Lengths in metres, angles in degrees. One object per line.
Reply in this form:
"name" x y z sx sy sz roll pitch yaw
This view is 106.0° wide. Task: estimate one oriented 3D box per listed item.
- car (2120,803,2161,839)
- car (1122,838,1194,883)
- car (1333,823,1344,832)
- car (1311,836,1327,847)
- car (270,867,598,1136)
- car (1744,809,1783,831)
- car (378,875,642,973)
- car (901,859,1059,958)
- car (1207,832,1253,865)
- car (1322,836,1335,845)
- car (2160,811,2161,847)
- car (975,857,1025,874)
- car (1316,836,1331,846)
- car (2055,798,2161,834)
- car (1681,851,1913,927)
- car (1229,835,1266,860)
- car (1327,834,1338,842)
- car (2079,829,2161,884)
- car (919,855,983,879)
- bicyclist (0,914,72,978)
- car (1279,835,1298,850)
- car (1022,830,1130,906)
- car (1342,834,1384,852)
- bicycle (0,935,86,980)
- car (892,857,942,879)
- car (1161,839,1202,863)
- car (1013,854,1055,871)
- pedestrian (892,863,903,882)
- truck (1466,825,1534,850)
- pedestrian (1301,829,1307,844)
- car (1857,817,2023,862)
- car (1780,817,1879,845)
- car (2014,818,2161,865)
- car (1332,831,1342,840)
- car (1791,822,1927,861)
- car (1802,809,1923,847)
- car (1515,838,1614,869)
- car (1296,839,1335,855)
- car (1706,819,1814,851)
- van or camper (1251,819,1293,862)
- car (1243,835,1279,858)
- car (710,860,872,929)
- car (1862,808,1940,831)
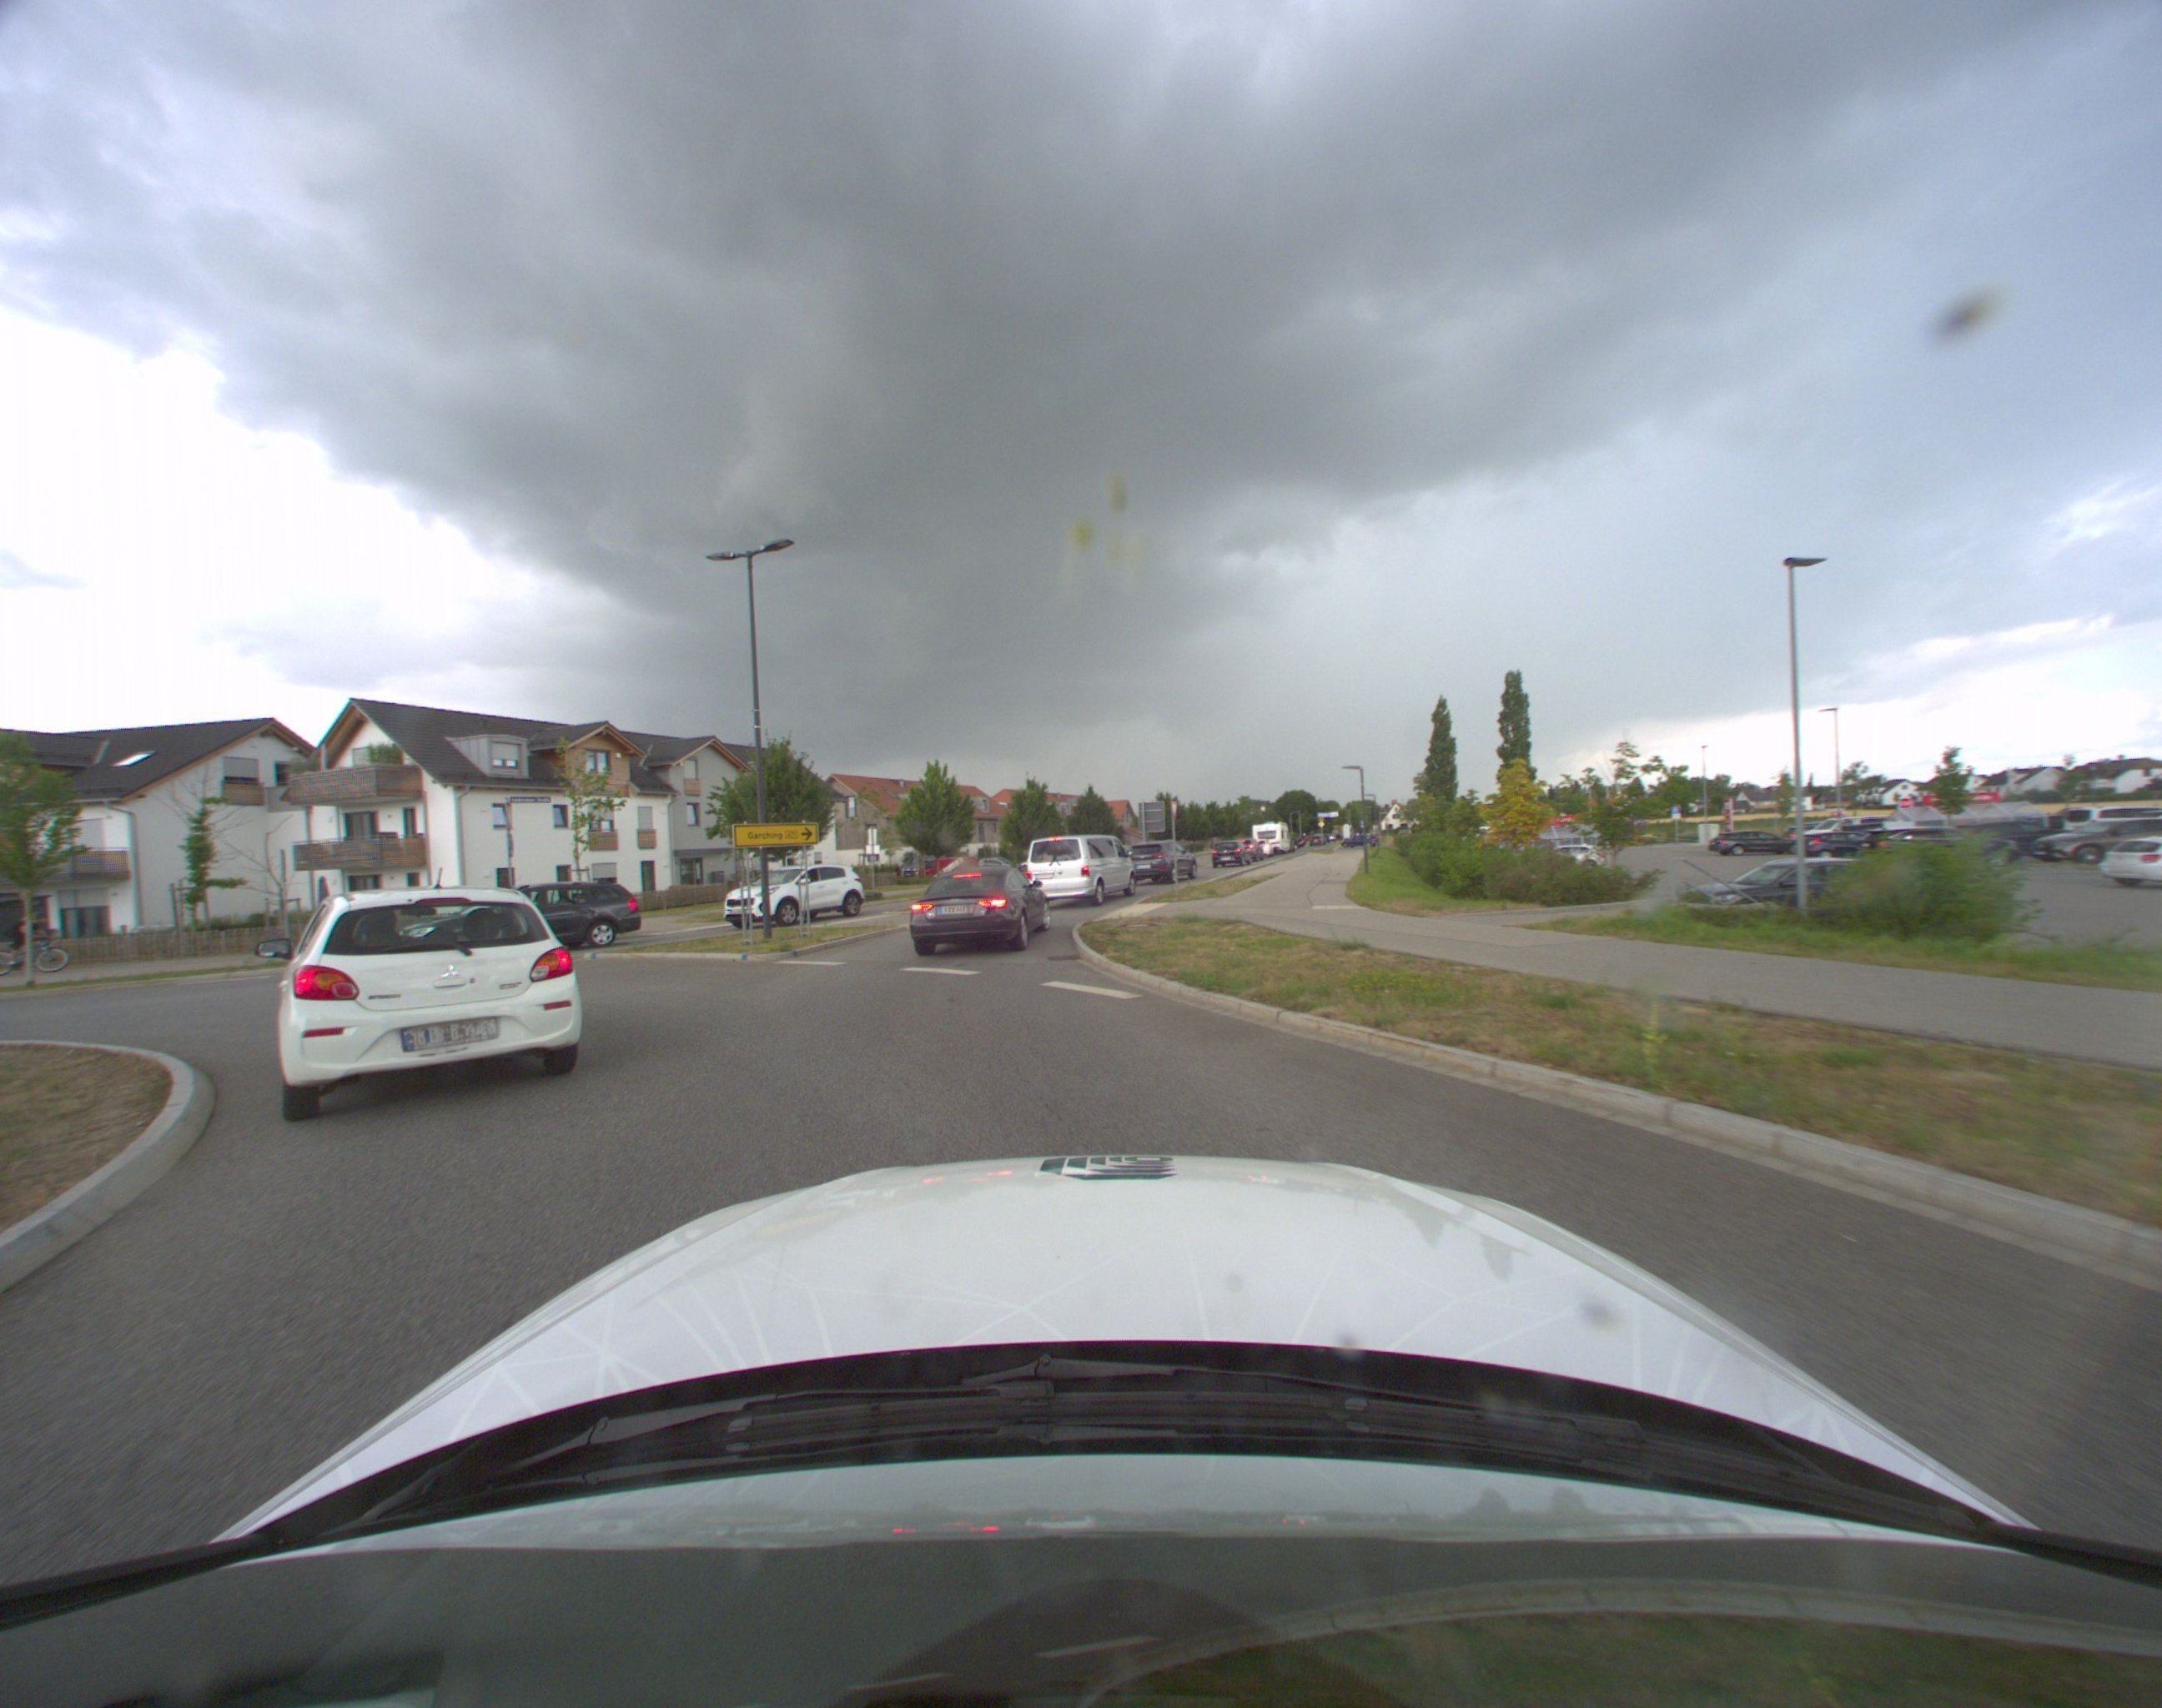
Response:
"car" 57.905 -1.801 42.551 3.951 1.838 2.011 -2 0 24
"car" 3.081 0.215 32.006 1.761 1.618 4.021 -2 0 20
"car" 63.687 -6.543 201.488 1.975 2.211 4.023 -2 1 24
"car" 32.692 -1.672 111.940 1.830 1.436 4.020 -1 1 19
"car" -5.186 0.897 6.590 1.641 1.519 3.359 -2 0 -40
"car" 65.185 -3.188 77.845 1.975 2.013 4.024 1 1 26
"car" -12.284 1.436 17.790 1.751 1.563 4.307 -4 0 37
"car" -1.614 0.853 14.514 1.774 1.391 4.141 -2 0 7
"car" 8.258 -0.320 44.894 1.761 1.618 4.020 -3 0 20
"car" 41.018 -2.204 135.027 1.830 1.436 4.020 -1 1 19
"car" 56.747 -1.299 40.052 3.952 1.838 2.011 -2 0 22
"car" -7.133 1.008 71.537 3.883 1.315 1.851 -2 0 18
"car" 36.236 -1.907 121.735 1.830 1.436 4.020 -1 1 19
"car" 58.062 -2.105 45.659 3.951 1.837 2.011 -2 0 23
"car" 17.539 0.841 20.152 3.961 1.606 1.797 -2 3 11
"car" 10.659 -0.407 51.963 1.762 1.434 3.820 -3 0 19
"car" 47.455 -3.011 153.641 1.830 1.436 4.020 -1 1 19
"car" 31.454 0.022 22.964 3.953 1.485 1.690 -1 0 15
"car" -10.113 0.990 63.487 4.490 1.680 2.011 -2 0 23
"bicyclist" -26.278 2.296 20.433 0.868 1.446 0.721 -4 0 -14
"car" 28.826 -1.662 113.162 1.976 2.013 4.021 -1 1 21
"car" -0.028 0.361 23.362 1.852 1.934 4.019 -2 0 18
"car" 30.695 -1.153 88.642 3.948 1.794 1.629 -2 0 41
"bicycle" -26.287 2.600 20.395 1.711 0.946 0.495 -4 0 -15
"car" -14.679 1.239 73.084 1.975 1.772 4.491 -2 0 25
"car" 6.447 -0.211 51.926 1.762 1.434 3.820 -3 0 19
"car" -4.651 0.836 80.962 3.700 1.482 1.694 -2 1 17
"pedestrian" -15.440 1.533 68.561 0.652 1.558 0.586 -2 0 23
"truck" 35.081 -1.386 68.370 4.760 1.872 2.009 -2 0 15
"pedestrian" 29.310 -2.288 107.163 0.573 2.013 0.685 1 1 26
"car" 35.550 -0.576 33.861 4.413 1.706 1.813 -1 0 19
"car" 47.930 -1.470 52.264 4.275 1.578 1.777 -2 0 22
"car" 41.028 -0.501 32.284 4.933 1.664 2.010 -2 0 19
"car" 55.051 -4.019 175.013 1.977 1.837 4.019 -1 1 18
"car" 37.848 -0.602 39.766 4.367 1.664 2.010 -2 1 20
"car" 47.516 -1.595 49.617 5.077 2.013 2.006 -3 1 9
"car" 25.582 -0.018 43.256 4.197 1.440 2.010 -2 0 20
"car" 25.421 -0.757 88.192 3.954 1.617 2.010 1 1 19
"car" 40.217 -1.117 48.364 4.518 1.664 2.010 -2 1 20
"van or camper" 16.202 -1.105 68.875 2.603 3.323 6.855 -2 0 20
"car" 13.448 -0.523 60.699 1.976 1.596 4.021 -2 0 21
"car" -8.202 1.097 23.537 1.693 1.626 4.476 -4 -1 24
"car" 65.816 -2.746 65.482 3.951 1.837 2.011 1 1 24
